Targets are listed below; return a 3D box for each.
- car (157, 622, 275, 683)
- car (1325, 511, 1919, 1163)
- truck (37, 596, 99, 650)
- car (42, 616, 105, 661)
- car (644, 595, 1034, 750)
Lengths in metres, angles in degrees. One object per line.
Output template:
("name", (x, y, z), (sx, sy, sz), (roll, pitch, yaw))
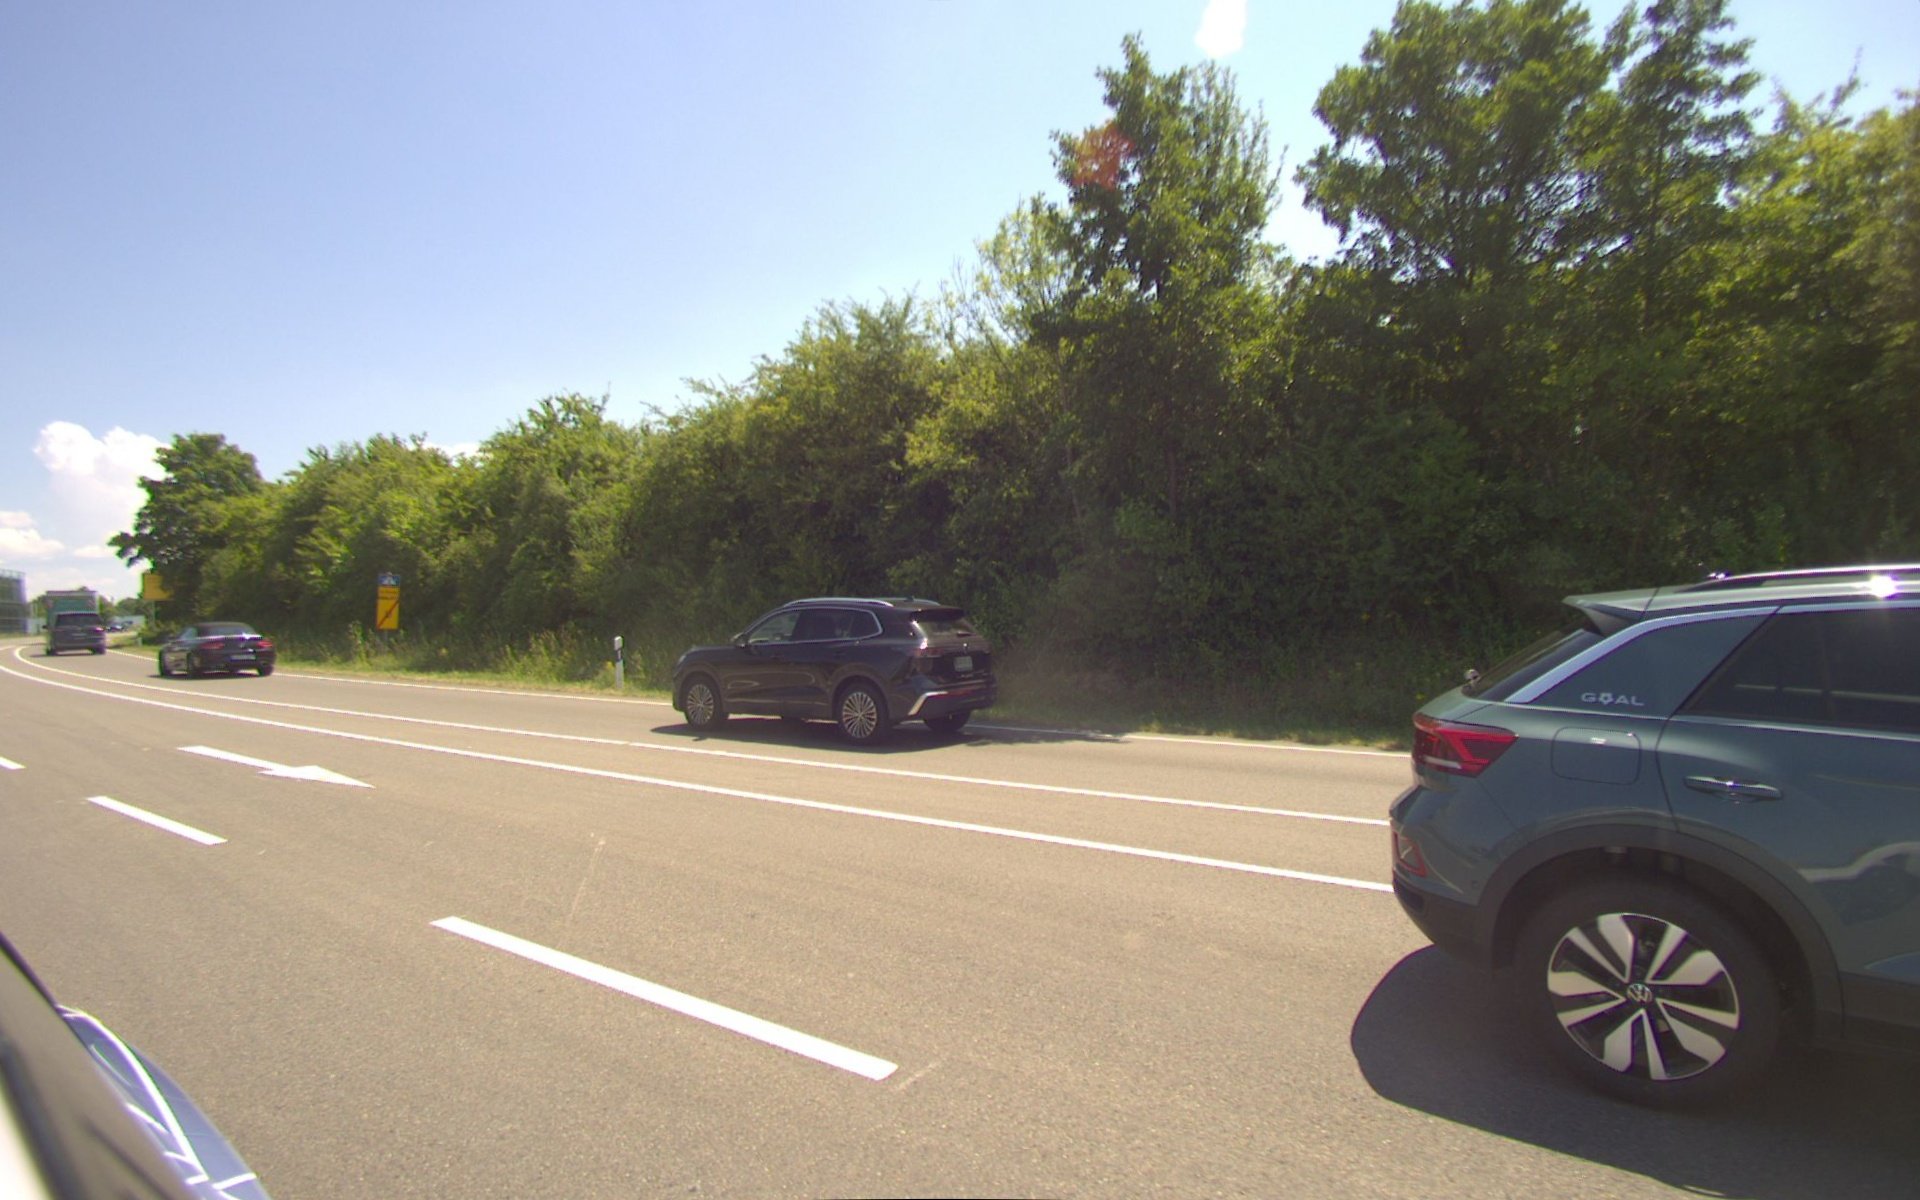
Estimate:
("car", (-19.831, 1.349, 26.901), (4.645, 1.453, 1.796), (-2, -2, 44))
("car", (3.506, 0.566, 2.748), (4.384, 1.598, 1.817), (-2, -2, 37))
("truck", (-63.234, 1.662, 71.902), (2.832, 3.601, 9.448), (0, -1, -39))
("car", (-40.190, 1.703, 45.844), (1.970, 1.909, 5.108), (0, -1, -43))
("car", (-1.599, 0.801, 12.580), (4.669, 1.605, 1.977), (-1, -1, 34))
